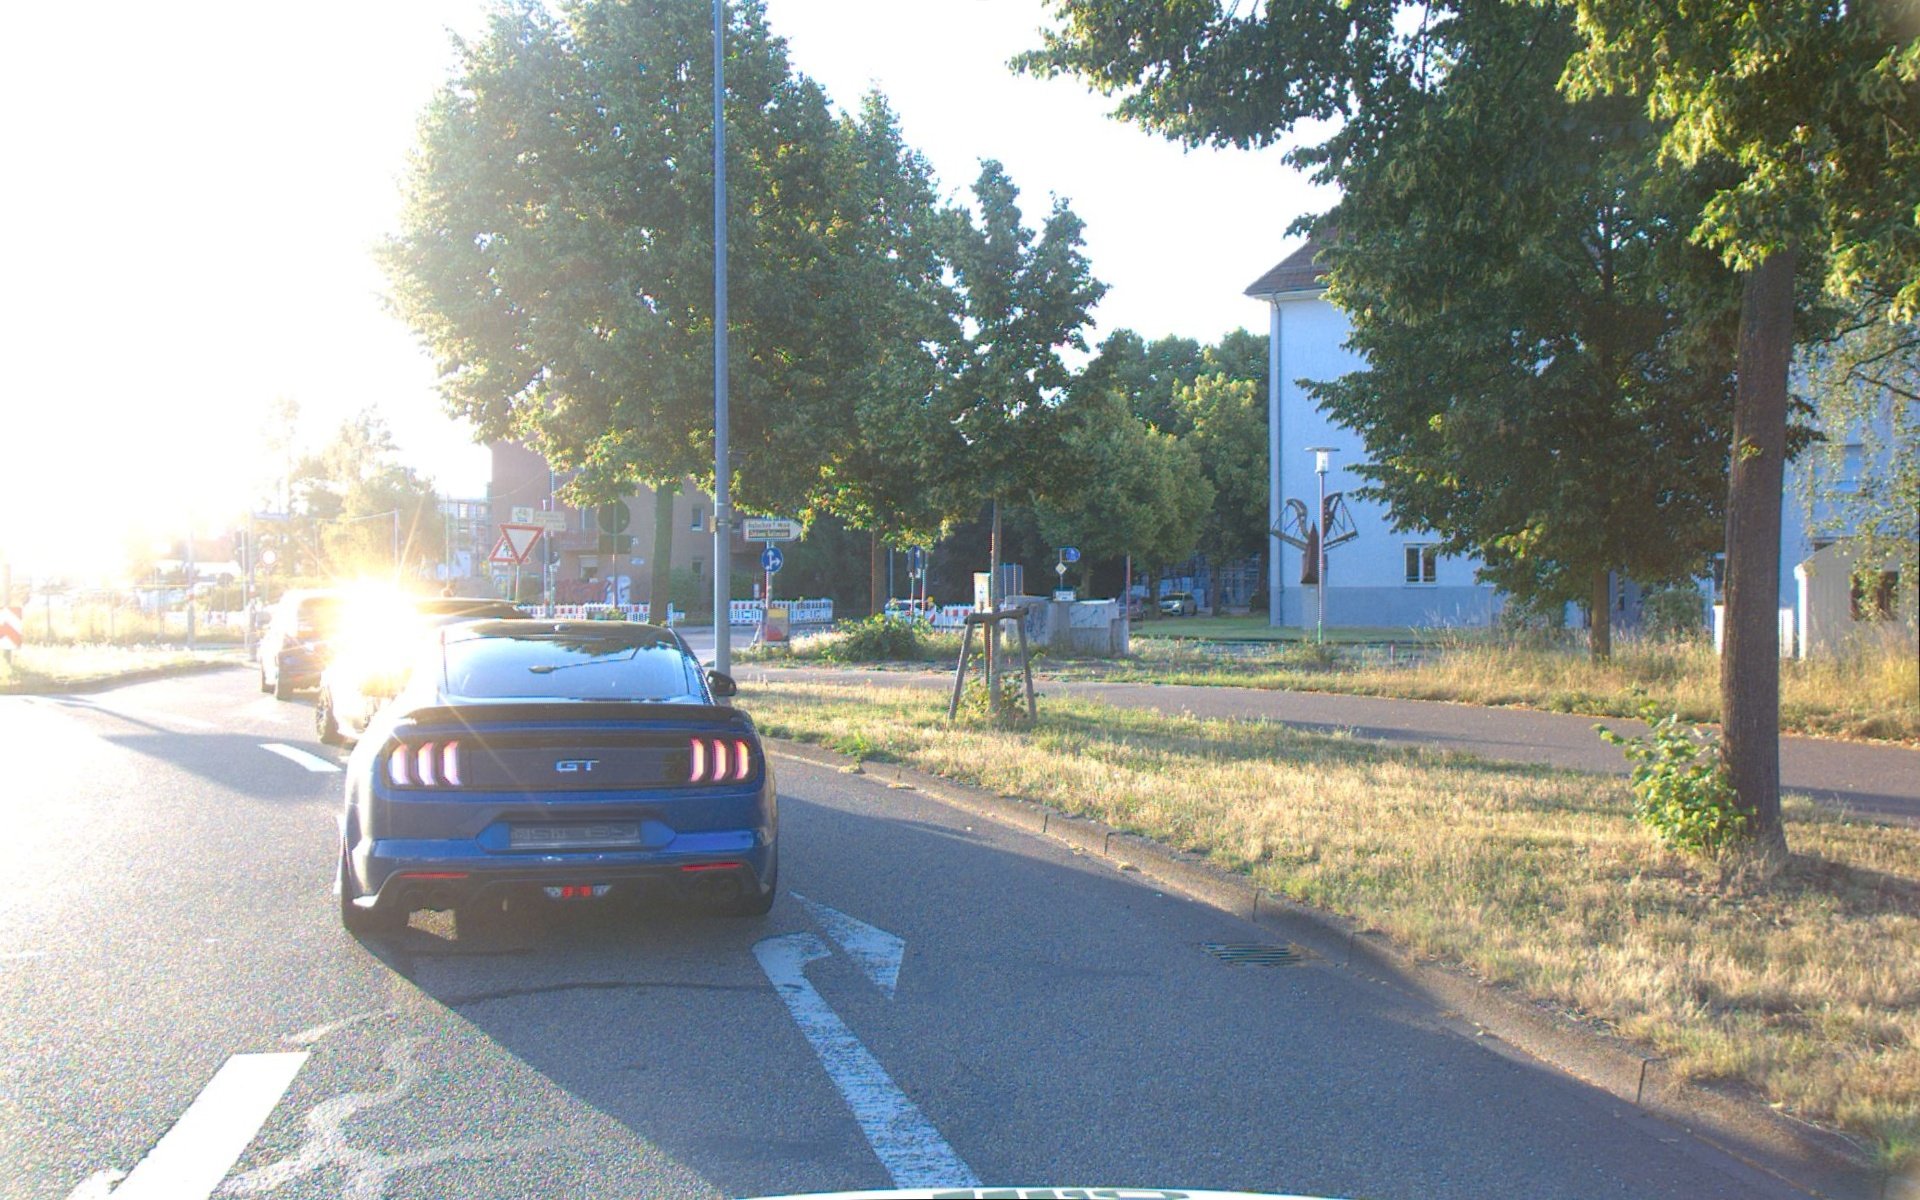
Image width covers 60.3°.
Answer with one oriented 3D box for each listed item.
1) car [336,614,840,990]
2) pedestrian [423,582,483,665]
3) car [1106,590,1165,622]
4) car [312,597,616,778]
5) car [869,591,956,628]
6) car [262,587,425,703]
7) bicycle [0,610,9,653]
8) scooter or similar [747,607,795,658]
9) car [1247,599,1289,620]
[{"bbox_3d":[-2.170,0.777,8.658,1.922,1.365,4.644,1,0,-20],"label":"car"},{"bbox_3d":[-10.659,0.481,34.763,0.867,1.716,0.845,0,0,25],"label":"pedestrian"},{"bbox_3d":[9.498,0.328,89.304,1.913,1.630,4.073,1,0,26],"label":"car"},{"bbox_3d":[-4.837,0.745,15.679,1.929,1.452,4.388,2,-1,-28],"label":"car"},{"bbox_3d":[-1.871,0.374,66.292,1.840,1.426,3.911,0,0,28],"label":"car"},{"bbox_3d":[-9.655,0.672,25.726,1.928,1.630,4.042,2,-1,-27],"label":"car"},{"bbox_3d":[-27.397,0.874,45.232,2.380,1.187,0.746,0,0,-34],"label":"bicycle"},{"bbox_3d":[-4.668,0.797,40.873,1.106,1.260,0.439,0,0,-26],"label":"scooter or similar"},{"bbox_3d":[21.446,0.636,114.944,1.839,1.426,3.912,0,0,27],"label":"car"}]
